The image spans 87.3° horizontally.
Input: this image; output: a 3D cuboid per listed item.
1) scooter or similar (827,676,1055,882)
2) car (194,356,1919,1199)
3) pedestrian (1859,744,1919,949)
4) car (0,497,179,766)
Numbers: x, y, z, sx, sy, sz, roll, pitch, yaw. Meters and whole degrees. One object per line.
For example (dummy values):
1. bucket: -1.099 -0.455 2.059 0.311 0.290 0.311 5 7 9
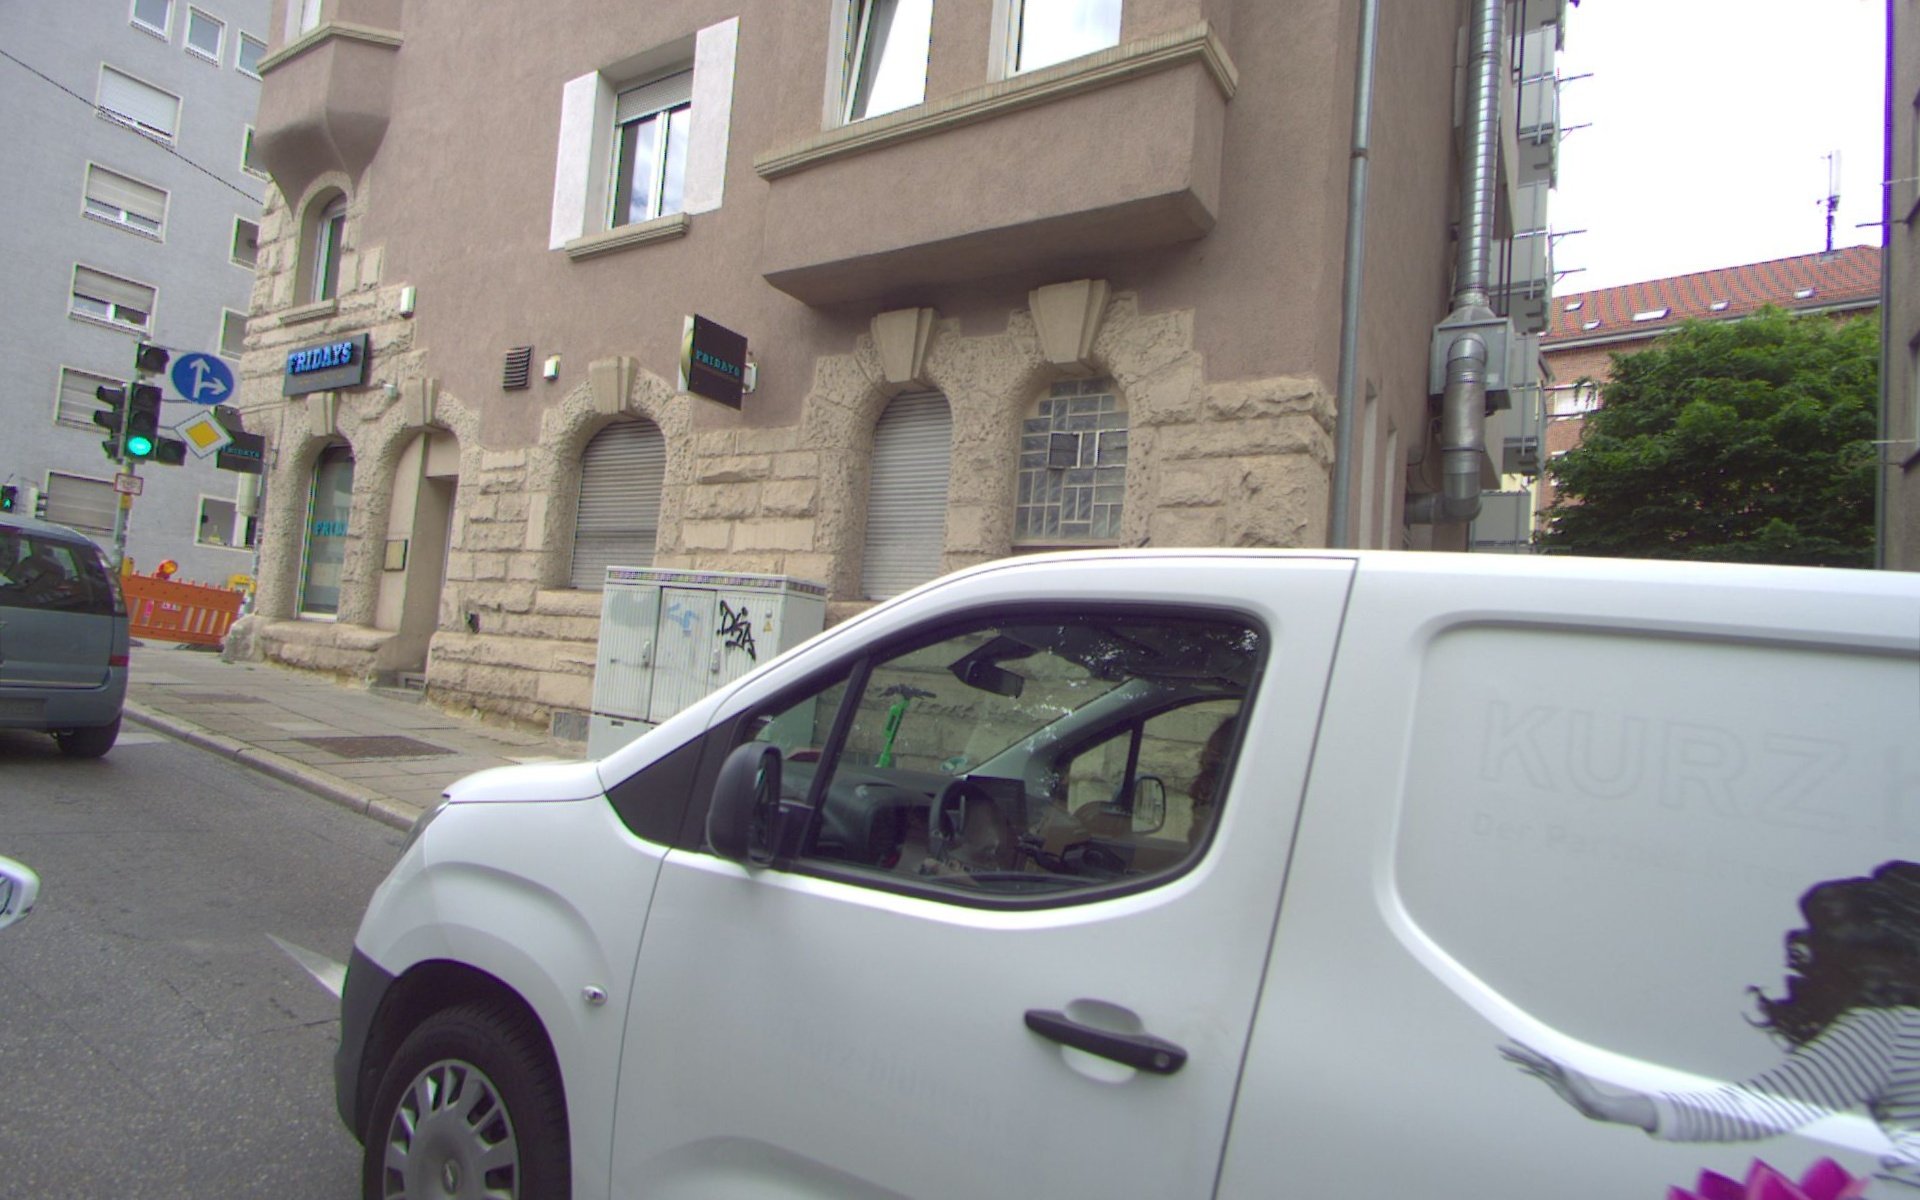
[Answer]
1. scooter or similar: -0.150 1.162 6.843 1.400 1.117 0.527 6 -1 34
2. car: 0.840 0.763 2.037 4.598 1.793 1.983 6 -6 30
3. pedestrian: 8.383 2.117 8.693 0.772 1.665 0.809 0 -4 32
4. car: -7.381 0.045 7.074 3.608 1.614 1.634 6 -5 32
